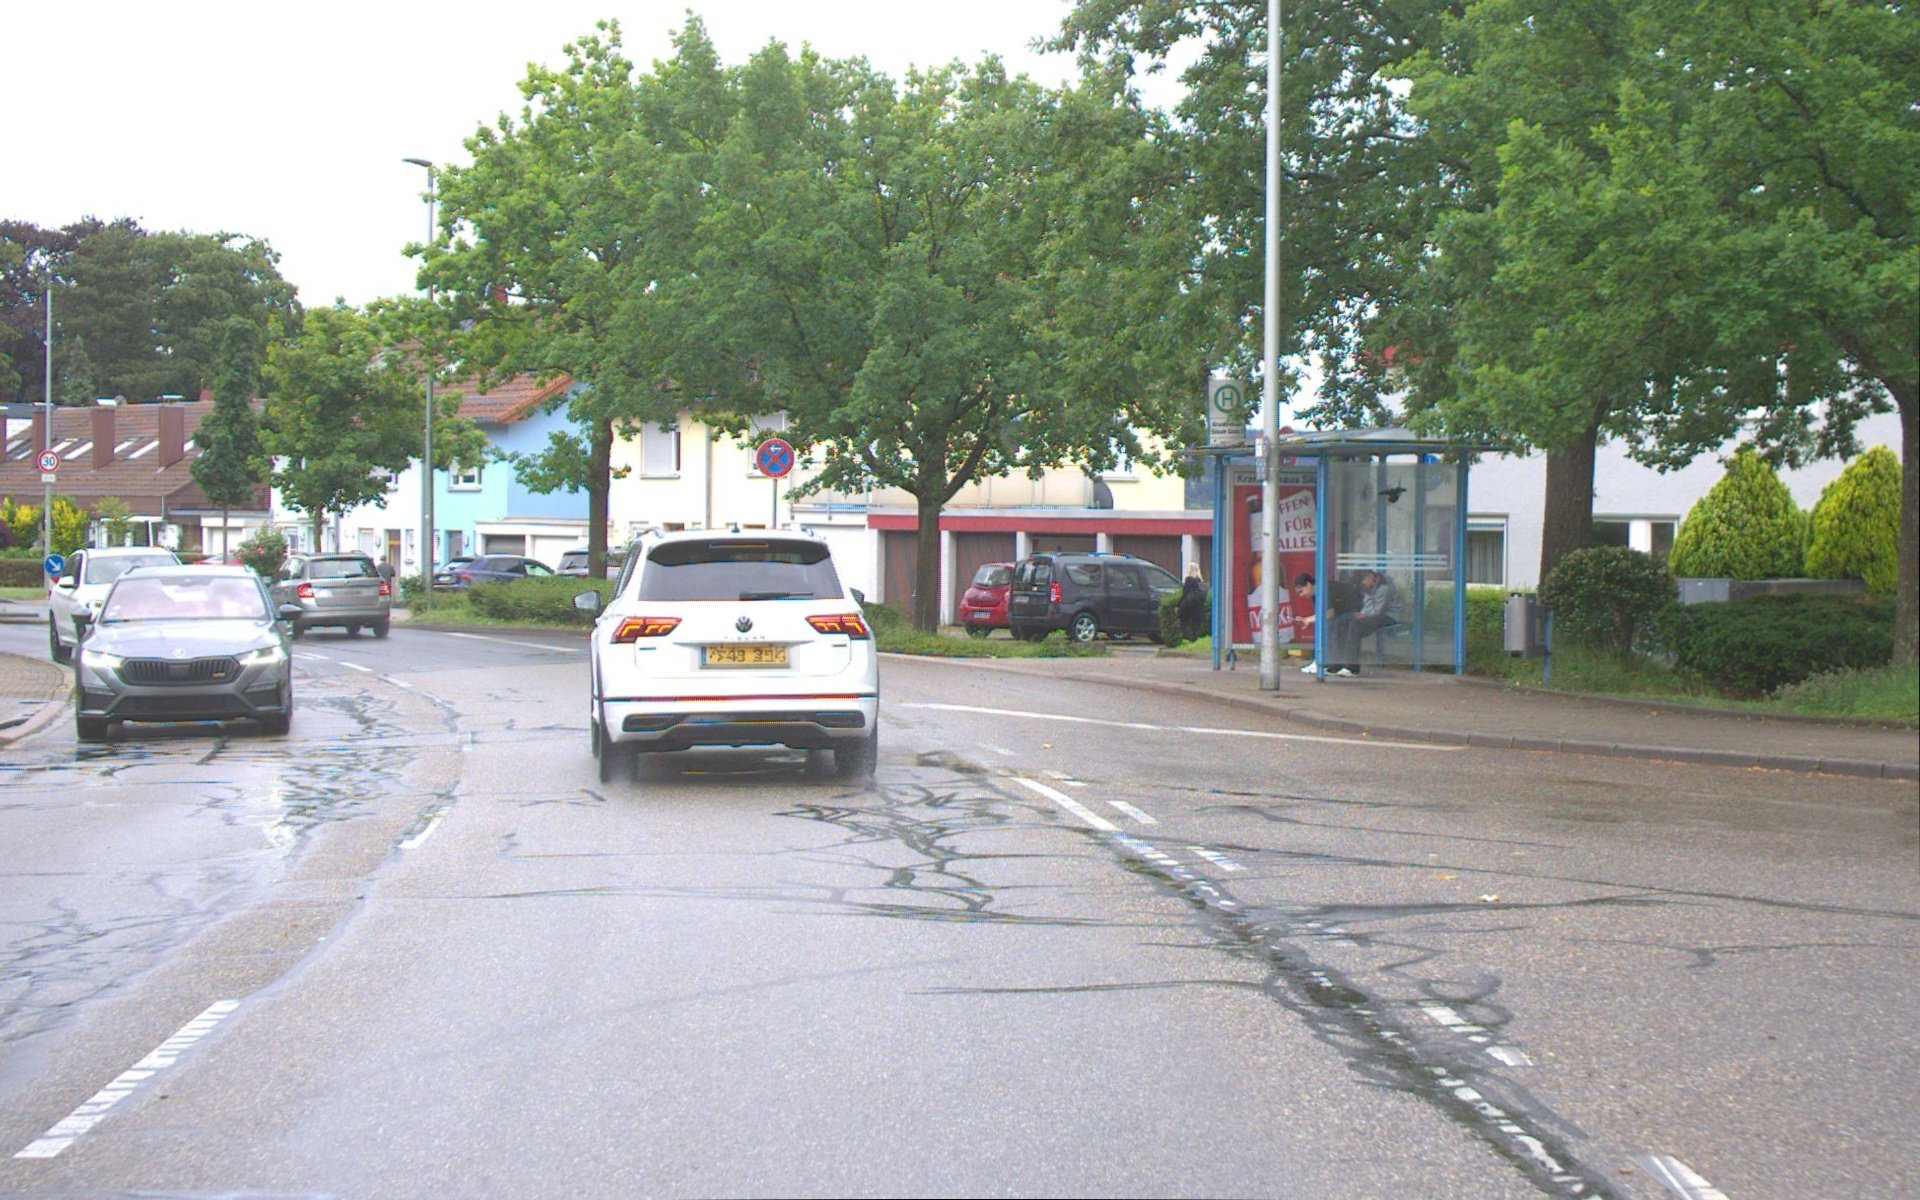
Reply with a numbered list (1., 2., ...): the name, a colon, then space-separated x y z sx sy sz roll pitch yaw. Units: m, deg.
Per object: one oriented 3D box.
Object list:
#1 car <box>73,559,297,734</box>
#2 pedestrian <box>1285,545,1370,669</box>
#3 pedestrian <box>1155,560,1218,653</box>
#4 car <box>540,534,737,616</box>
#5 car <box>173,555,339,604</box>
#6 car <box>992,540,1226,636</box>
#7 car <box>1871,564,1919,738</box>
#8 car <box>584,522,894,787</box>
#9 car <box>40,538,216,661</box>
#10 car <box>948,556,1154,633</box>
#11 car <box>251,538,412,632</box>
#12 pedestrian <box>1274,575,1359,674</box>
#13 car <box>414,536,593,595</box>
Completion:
1. car: -6.911 0.353 30.399 1.740 1.410 4.144 0 1 -15
2. pedestrian: 3.725 0.067 34.845 0.726 1.246 0.551 0 1 -9
3. pedestrian: 3.819 0.107 58.005 0.664 1.552 0.842 0 1 -41
4. car: -7.203 -0.544 77.298 4.181 1.666 1.721 2 0 -43
5. car: -19.684 -0.560 96.265 1.678 1.256 4.306 2 1 45
6. car: 2.757 -0.246 63.297 3.988 1.715 1.924 0 1 -37
7. car: 9.966 0.445 29.663 3.644 1.481 1.760 0 1 -12
8. car: -1.596 0.297 23.568 1.865 1.645 4.001 -1 1 -7
9. car: -12.280 -0.041 50.519 1.890 1.606 4.867 2 1 -20
10. car: 1.759 -0.125 65.897 3.693 1.437 1.707 0 1 -37
11. car: -10.809 -0.282 58.934 1.768 1.546 4.001 0 1 -25
12. pedestrian: 3.694 0.249 35.668 0.748 1.008 0.551 0 1 -9
13. car: -11.011 -0.822 82.968 3.988 1.382 1.674 0 1 -39
